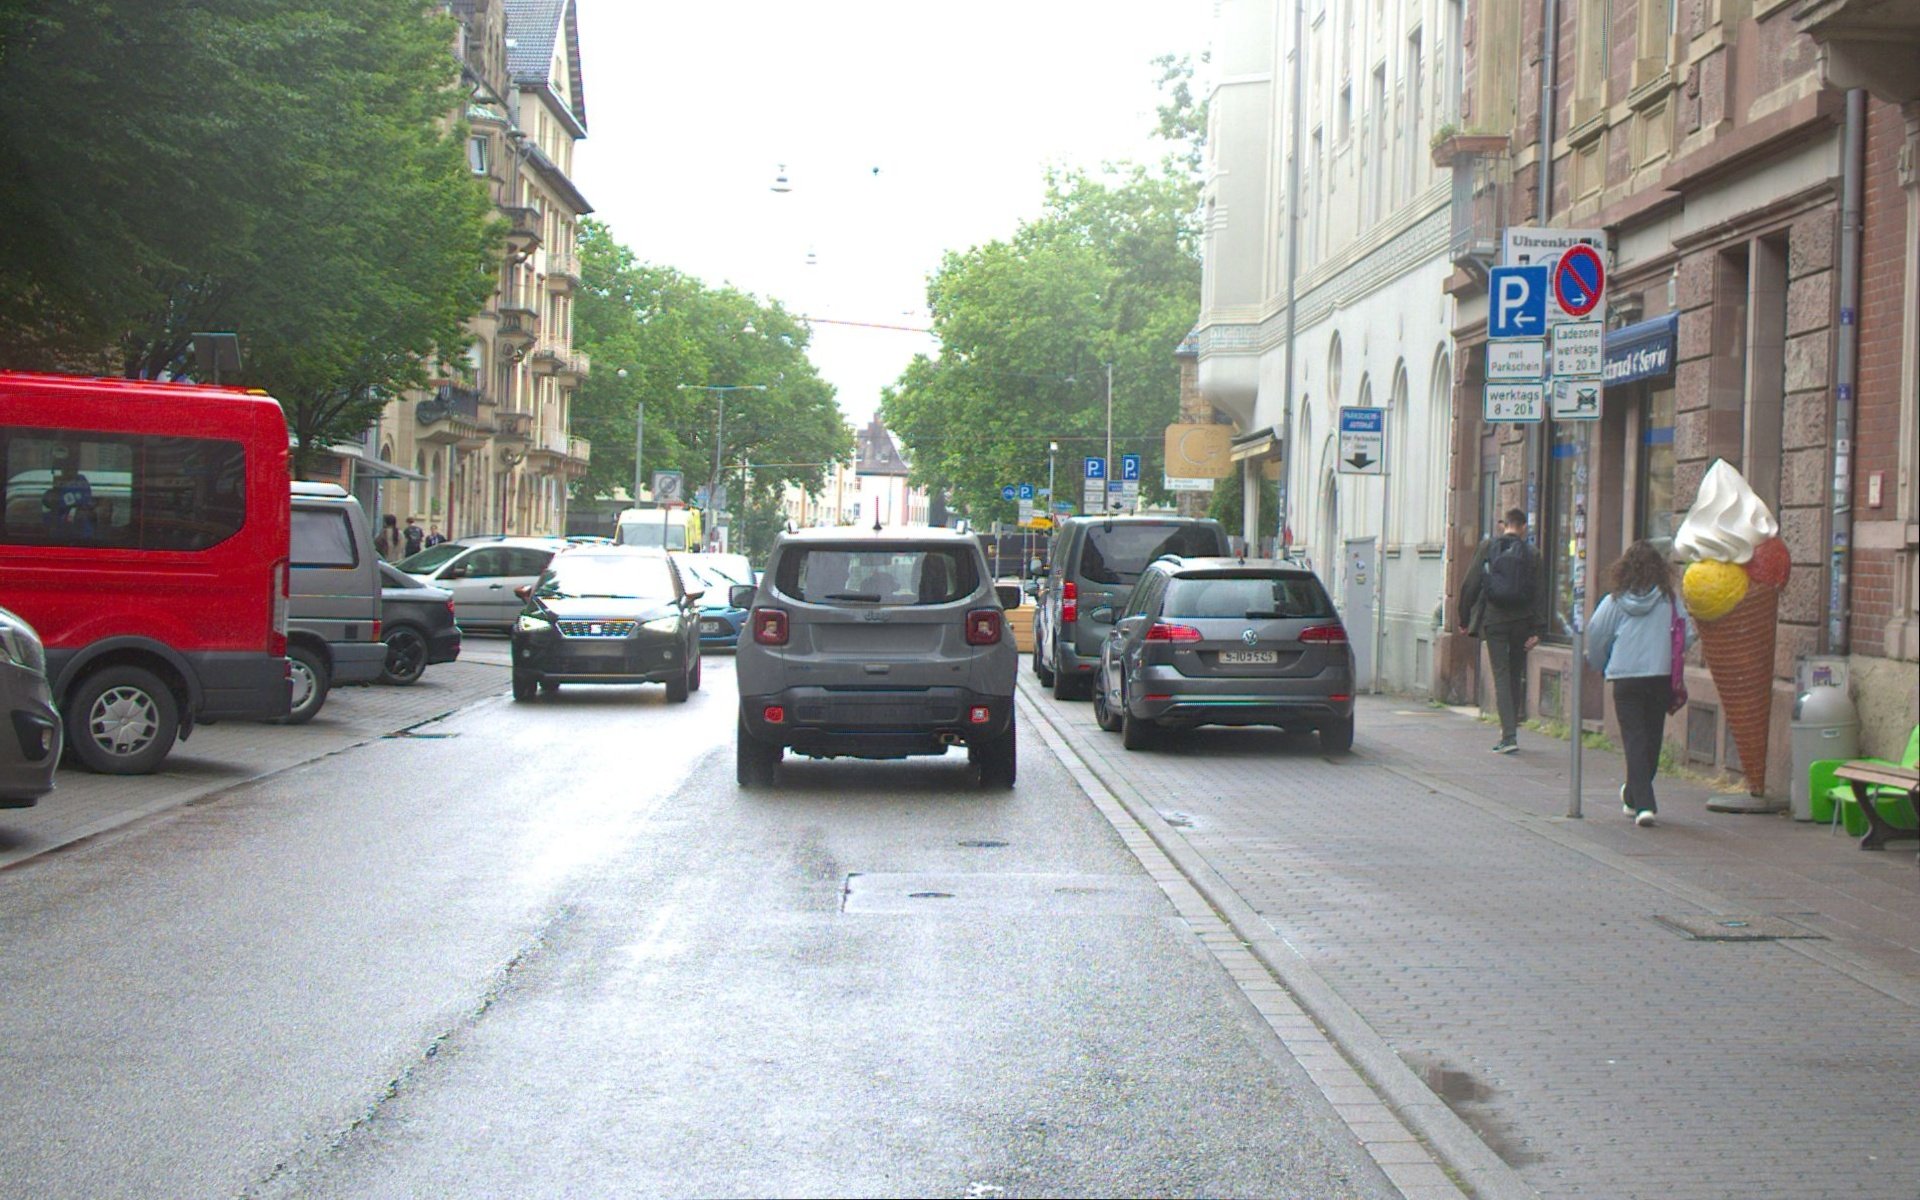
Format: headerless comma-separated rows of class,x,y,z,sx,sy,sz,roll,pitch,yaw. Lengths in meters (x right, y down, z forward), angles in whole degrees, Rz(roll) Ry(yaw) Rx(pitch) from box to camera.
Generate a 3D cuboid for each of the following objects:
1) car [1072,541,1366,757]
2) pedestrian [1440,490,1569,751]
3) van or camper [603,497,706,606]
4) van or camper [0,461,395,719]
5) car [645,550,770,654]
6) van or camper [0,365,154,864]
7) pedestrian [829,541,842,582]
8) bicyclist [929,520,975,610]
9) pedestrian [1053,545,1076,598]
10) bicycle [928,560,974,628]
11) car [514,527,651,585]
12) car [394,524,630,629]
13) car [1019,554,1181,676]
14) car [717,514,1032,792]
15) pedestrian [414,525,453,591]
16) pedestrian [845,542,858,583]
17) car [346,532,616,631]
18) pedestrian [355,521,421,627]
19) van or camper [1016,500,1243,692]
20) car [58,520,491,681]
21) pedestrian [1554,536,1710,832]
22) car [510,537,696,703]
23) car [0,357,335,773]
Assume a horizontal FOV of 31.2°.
car,1.950,0.332,26.988,1.841,1.540,4.004,1,1,-2
pedestrian,4.131,0.136,26.061,0.680,1.927,0.808,1,3,34
van or camper,-7.858,-1.208,89.028,2.121,2.522,6.875,-2,-1,-1
van or camper,-7.032,-0.092,27.837,4.434,1.968,1.781,2,1,-34
car,-3.720,0.003,51.108,1.669,1.460,4.004,1,1,-2
van or camper,-6.654,-0.021,16.343,5.008,2.341,2.345,2,1,-27
pedestrian,-4.894,-1.520,135.140,0.467,1.580,0.752,1,1,-2
bicyclist,-0.138,-0.561,54.826,0.705,1.399,1.171,1,1,-1
pedestrian,3.424,-0.934,112.378,0.690,1.705,0.684,1,1,-1
bicycle,-0.148,-0.102,54.832,0.705,1.050,1.813,1,1,-1
car,-11.495,-1.343,104.746,3.653,1.553,1.799,3,0,-37
car,-7.190,-0.381,55.253,3.375,1.648,1.634,0,1,-34
car,1.658,0.152,41.763,1.710,1.396,3.705,0,1,-2
car,-0.601,0.298,23.291,1.898,1.665,4.506,1,1,-2
pedestrian,-12.793,-1.021,83.492,0.709,1.546,0.607,4,1,6
pedestrian,-4.307,-1.487,136.337,0.467,1.580,0.752,1,1,-2
car,-7.281,-0.286,52.372,3.702,1.447,1.685,0,1,-36
pedestrian,-9.789,-0.451,58.861,0.825,1.746,0.757,4,1,6
van or camper,1.708,-0.080,36.421,2.021,1.884,5.055,0,1,-1
car,-7.051,0.022,35.572,3.967,1.442,1.767,3,1,-41
pedestrian,3.737,0.451,19.171,0.679,1.608,0.810,1,1,0
car,-3.594,0.165,35.167,1.669,1.554,4.004,2,1,-3
car,-7.005,-0.275,21.615,5.554,2.532,2.229,2,1,-28
